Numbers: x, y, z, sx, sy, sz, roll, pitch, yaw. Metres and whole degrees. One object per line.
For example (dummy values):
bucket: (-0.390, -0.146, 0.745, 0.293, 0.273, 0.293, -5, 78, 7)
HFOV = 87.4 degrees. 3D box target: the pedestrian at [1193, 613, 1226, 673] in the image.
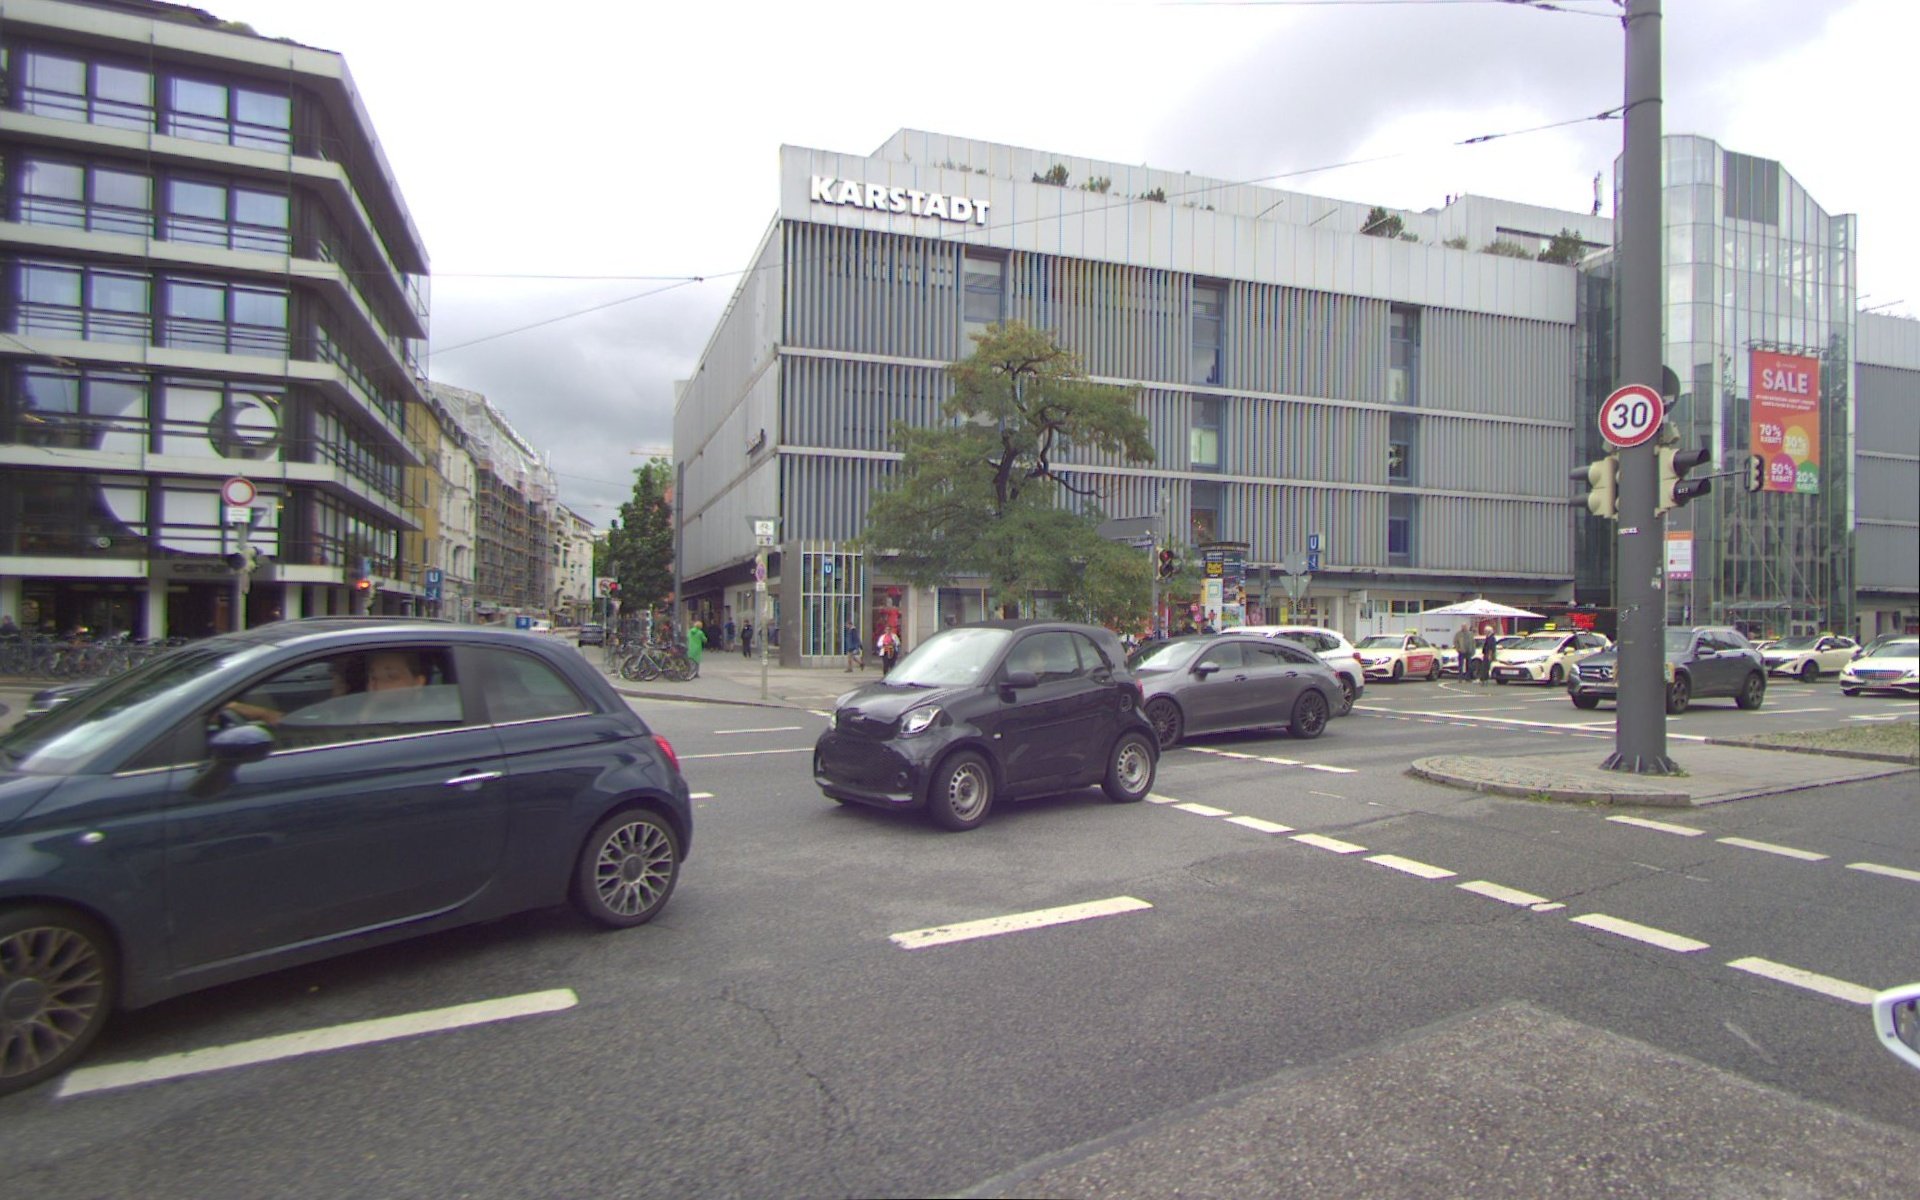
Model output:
pedestrian: (7.529, 1.293, 30.309, 0.739, 1.796, 0.770, -1, -1, 37)

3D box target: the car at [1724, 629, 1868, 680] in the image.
car: (29.284, 1.881, 35.220, 4.116, 1.701, 1.993, 1, -1, -17)

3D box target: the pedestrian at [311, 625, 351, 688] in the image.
pedestrian: (-16.888, 1.498, 26.975, 0.779, 1.663, 0.853, 1, -1, -25)

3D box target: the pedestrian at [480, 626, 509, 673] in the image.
pedestrian: (-16.825, 1.785, 36.321, 0.844, 1.663, 0.786, 1, -1, -18)

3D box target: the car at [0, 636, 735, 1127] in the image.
car: (-2.848, 0.906, 4.409, 1.525, 1.464, 3.527, -2, -3, 35)

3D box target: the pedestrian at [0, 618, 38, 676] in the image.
pedestrian: (-30.004, 1.487, 31.895, 0.815, 1.824, 0.718, 1, -1, -20)

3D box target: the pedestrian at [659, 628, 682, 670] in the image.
pedestrian: (-11.627, 1.972, 40.352, 0.838, 1.676, 0.799, 1, -1, -18)

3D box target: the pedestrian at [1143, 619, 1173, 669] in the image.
pedestrian: (6.037, 1.326, 30.607, 0.737, 1.513, 0.772, 0, -1, 26)

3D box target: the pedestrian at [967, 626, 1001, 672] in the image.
pedestrian: (0.840, 1.712, 35.534, 0.962, 1.602, 0.796, 1, -1, -19)

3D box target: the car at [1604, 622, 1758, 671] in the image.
car: (23.843, 1.529, 33.236, 4.565, 1.528, 1.991, 1, -1, -21)

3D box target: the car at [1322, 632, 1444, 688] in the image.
car: (13.026, 1.784, 30.832, 1.973, 1.556, 4.386, -1, -2, 45)

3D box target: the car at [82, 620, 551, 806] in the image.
car: (-6.684, 1.082, 10.901, 3.953, 1.684, 1.775, 1, -1, -30)

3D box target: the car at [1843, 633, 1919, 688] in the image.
car: (30.141, 1.866, 31.892, 4.204, 1.635, 1.832, 1, -1, -28)

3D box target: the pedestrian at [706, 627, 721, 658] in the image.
pedestrian: (-12.907, 2.220, 52.619, 0.646, 1.573, 0.678, 1, -1, -21)

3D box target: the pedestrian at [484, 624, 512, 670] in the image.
pedestrian: (-17.393, 1.762, 37.806, 0.838, 1.676, 0.799, 1, -1, -18)

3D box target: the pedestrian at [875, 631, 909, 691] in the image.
pedestrian: (-1.851, 1.658, 27.393, 0.712, 1.595, 0.635, 1, -1, -30)

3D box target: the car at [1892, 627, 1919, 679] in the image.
car: (40.524, 2.137, 40.856, 5.449, 2.040, 1.987, 1, -2, -26)

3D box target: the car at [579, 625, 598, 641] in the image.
car: (-41.851, 3.702, 113.167, 1.931, 1.774, 3.981, 1, -2, -20)

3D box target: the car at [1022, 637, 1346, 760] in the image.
car: (3.102, 1.255, 13.748, 4.122, 1.430, 1.983, 1, -4, -32)

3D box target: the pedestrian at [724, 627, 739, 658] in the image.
pedestrian: (-12.057, 2.241, 53.018, 0.646, 1.573, 0.678, 1, -1, -21)

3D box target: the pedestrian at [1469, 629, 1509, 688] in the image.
pedestrian: (15.857, 1.741, 30.111, 0.741, 1.713, 0.768, 1, -1, -25)

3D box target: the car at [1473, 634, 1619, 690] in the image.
car: (17.734, 1.821, 30.371, 4.339, 1.563, 1.893, 1, -2, -29)

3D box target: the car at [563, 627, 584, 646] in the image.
car: (-39.754, 3.754, 103.275, 1.931, 1.884, 3.981, 1, -1, -20)

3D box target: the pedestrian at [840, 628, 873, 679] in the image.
pedestrian: (-3.533, 1.820, 34.199, 0.774, 1.710, 0.862, 0, -1, 26)

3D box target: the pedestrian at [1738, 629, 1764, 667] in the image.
pedestrian: (36.473, 2.198, 46.301, 0.700, 1.714, 0.651, 1, -1, -17)

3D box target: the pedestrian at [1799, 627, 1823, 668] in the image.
pedestrian: (38.118, 2.115, 44.990, 0.618, 1.841, 0.557, 1, -1, -19)

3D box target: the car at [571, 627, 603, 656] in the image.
car: (-28.313, 3.138, 76.282, 2.142, 2.087, 3.981, 1, -1, -21)

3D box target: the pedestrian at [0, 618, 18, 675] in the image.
pedestrian: (-30.923, 1.482, 32.298, 0.679, 1.824, 0.592, 1, -1, -20)

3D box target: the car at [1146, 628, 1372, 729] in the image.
car: (5.380, 1.329, 17.946, 3.955, 1.617, 1.690, 1, -2, -31)

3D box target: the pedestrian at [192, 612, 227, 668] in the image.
pedestrian: (-28.062, 1.495, 37.555, 0.906, 2.040, 0.829, 1, -1, -29)

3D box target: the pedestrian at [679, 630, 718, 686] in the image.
pedestrian: (-7.858, 1.728, 30.197, 0.804, 1.640, 0.831, 2, -2, -44)

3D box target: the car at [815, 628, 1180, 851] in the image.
car: (0.371, 1.030, 8.514, 2.813, 1.554, 1.492, 1, -3, -39)

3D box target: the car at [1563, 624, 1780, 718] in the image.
car: (14.297, 1.351, 20.122, 4.675, 1.692, 1.735, 1, -2, -30)

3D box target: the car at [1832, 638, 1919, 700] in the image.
car: (24.121, 1.685, 25.375, 4.583, 1.440, 1.757, 1, -2, -30)

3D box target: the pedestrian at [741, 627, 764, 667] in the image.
pedestrian: (-8.927, 2.004, 43.164, 0.774, 1.710, 0.784, 1, -1, -25)

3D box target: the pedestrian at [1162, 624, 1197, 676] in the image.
pedestrian: (6.735, 1.523, 30.818, 0.740, 1.575, 0.769, 1, -1, -22)
